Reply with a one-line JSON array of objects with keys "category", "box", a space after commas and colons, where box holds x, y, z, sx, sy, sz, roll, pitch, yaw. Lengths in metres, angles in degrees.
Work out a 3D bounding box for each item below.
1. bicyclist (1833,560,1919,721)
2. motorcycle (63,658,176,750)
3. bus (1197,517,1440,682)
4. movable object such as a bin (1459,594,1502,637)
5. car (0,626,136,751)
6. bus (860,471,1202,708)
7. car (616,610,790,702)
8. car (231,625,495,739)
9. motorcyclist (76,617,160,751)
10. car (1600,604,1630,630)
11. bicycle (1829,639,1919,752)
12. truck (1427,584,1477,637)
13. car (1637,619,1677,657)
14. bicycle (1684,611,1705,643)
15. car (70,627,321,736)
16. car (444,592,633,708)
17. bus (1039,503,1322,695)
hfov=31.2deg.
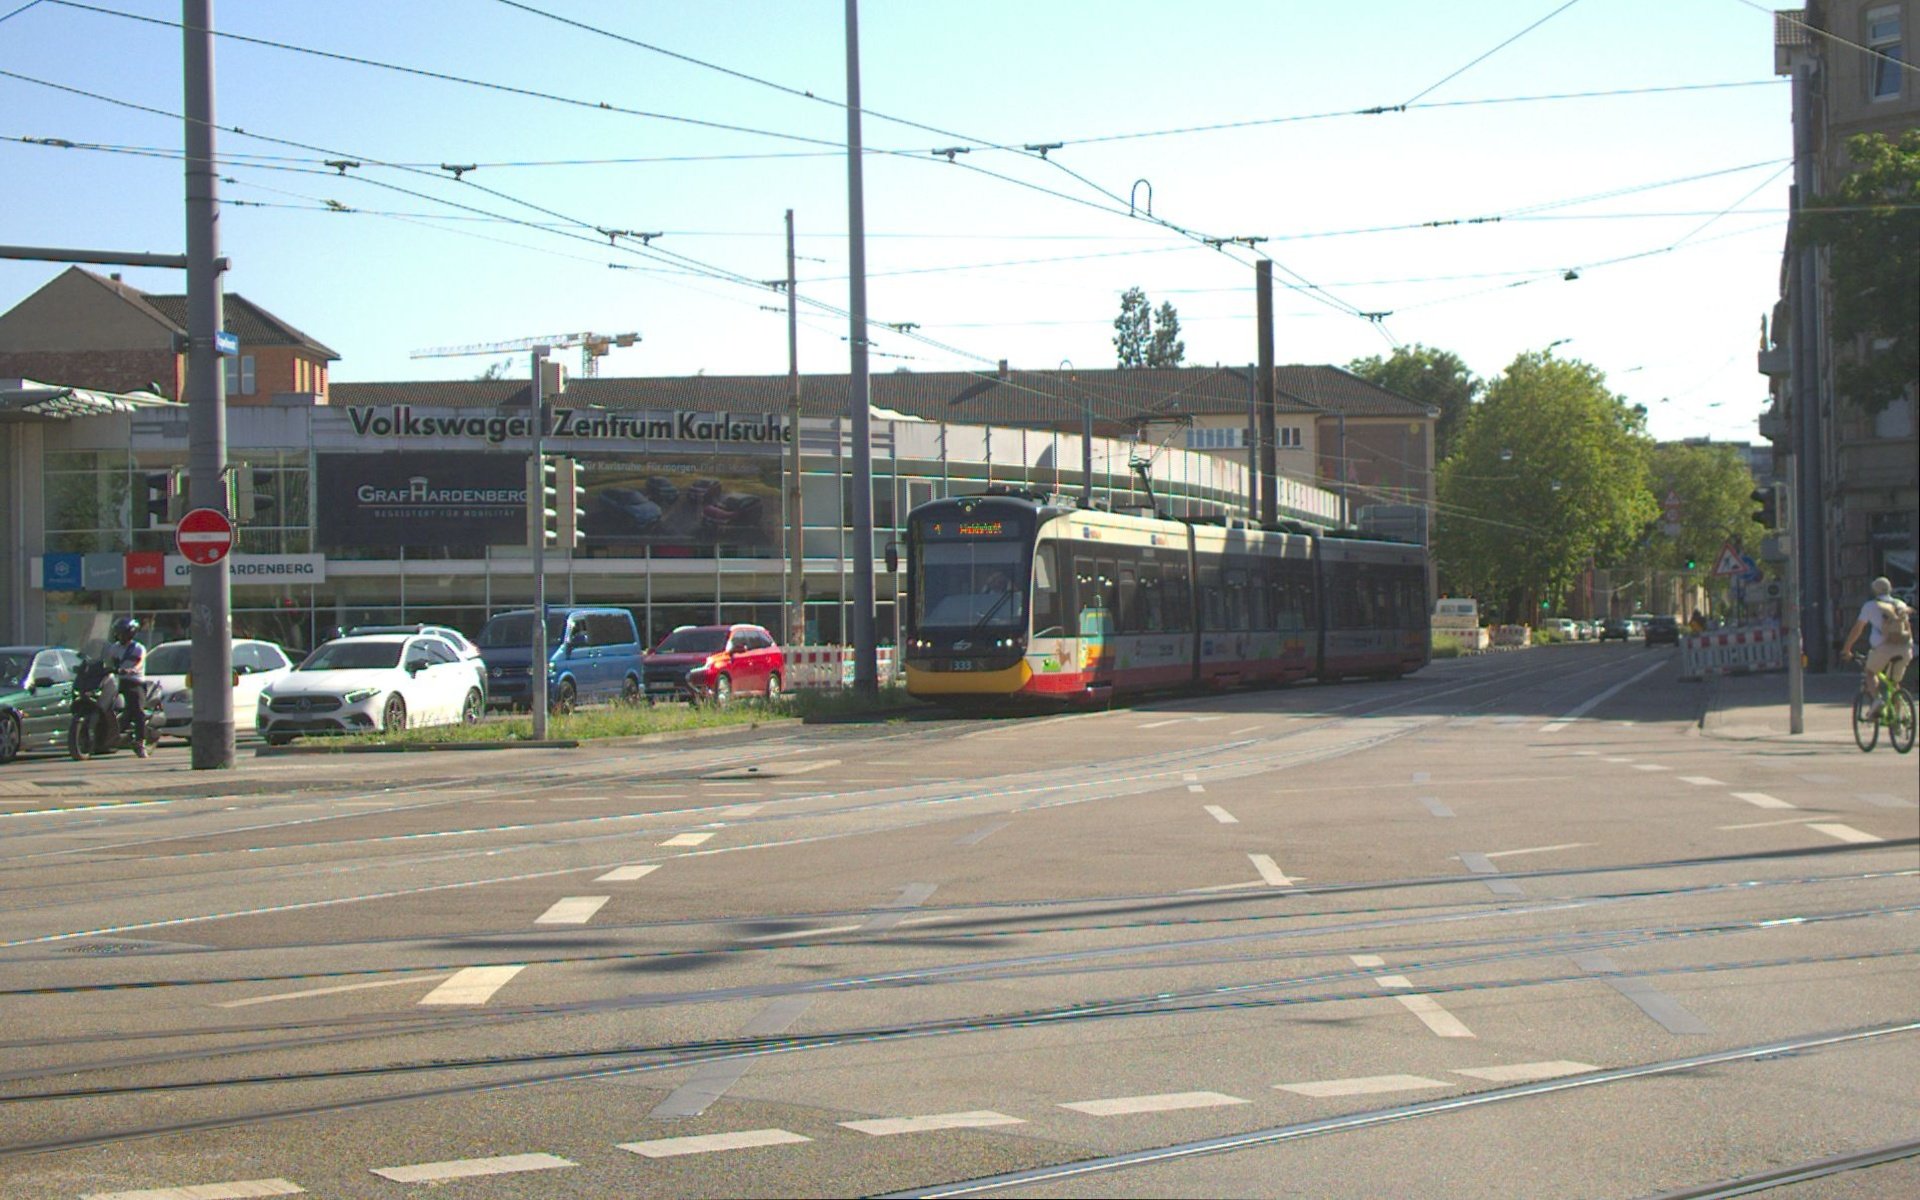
[{"category": "bicyclist", "box": [9.786, 0.434, 36.702, 0.681, 1.678, 1.120, 1, -1, 3]}, {"category": "motorcycle", "box": [-10.064, 1.239, 41.231, 0.519, 1.043, 1.746, -2, 0, 15]}, {"category": "bus", "box": [8.528, 0.019, 80.102, 2.844, 3.577, 11.258, 0, 0, 21]}, {"category": "movable object such as a bin", "box": [33.116, 0.970, 218.452, 2.496, 2.636, 5.986, 1, 0, 10]}, {"category": "car", "box": [-11.757, 1.079, 41.951, 1.650, 1.474, 3.968, -2, -1, 14]}, {"category": "bus", "box": [1.512, -0.127, 58.742, 2.843, 3.577, 13.486, 0, 0, 14]}, {"category": "car", "box": [-4.989, 1.094, 67.266, 1.801, 1.713, 4.412, -2, -1, 19]}, {"category": "car", "box": [-7.940, 1.078, 46.157, 1.804, 1.427, 4.537, 1, -1, 14]}, {"category": "motorcyclist", "box": [-10.096, 1.005, 41.241, 0.585, 1.574, 0.942, -2, -1, 15]}, {"category": "car", "box": [44.587, 1.183, 233.832, 1.760, 1.691, 4.141, 1, -1, 14]}, {"category": "bicycle", "box": [9.800, 1.008, 36.877, 0.531, 1.113, 1.934, 1, 1, 3]}, {"category": "truck", "box": [26.951, 0.600, 188.066, 2.539, 2.820, 6.373, 1, -1, 9]}, {"category": "car", "box": [37.833, 2.089, 186.543, 1.995, 2.007, 3.997, 1, -1, 14]}, {"category": "bicycle", "box": [26.373, 0.978, 123.420, 0.681, 1.111, 2.705, 1, 0, 13]}, {"category": "car", "box": [-10.596, 1.119, 47.938, 1.804, 1.427, 3.997, 1, -1, 14]}, {"category": "car", "box": [-7.309, 0.876, 60.043, 1.804, 1.927, 4.162, -2, -1, 15]}, {"category": "bus", "box": [4.652, 0.004, 69.692, 2.844, 3.577, 10.715, 0, 0, 20]}]
